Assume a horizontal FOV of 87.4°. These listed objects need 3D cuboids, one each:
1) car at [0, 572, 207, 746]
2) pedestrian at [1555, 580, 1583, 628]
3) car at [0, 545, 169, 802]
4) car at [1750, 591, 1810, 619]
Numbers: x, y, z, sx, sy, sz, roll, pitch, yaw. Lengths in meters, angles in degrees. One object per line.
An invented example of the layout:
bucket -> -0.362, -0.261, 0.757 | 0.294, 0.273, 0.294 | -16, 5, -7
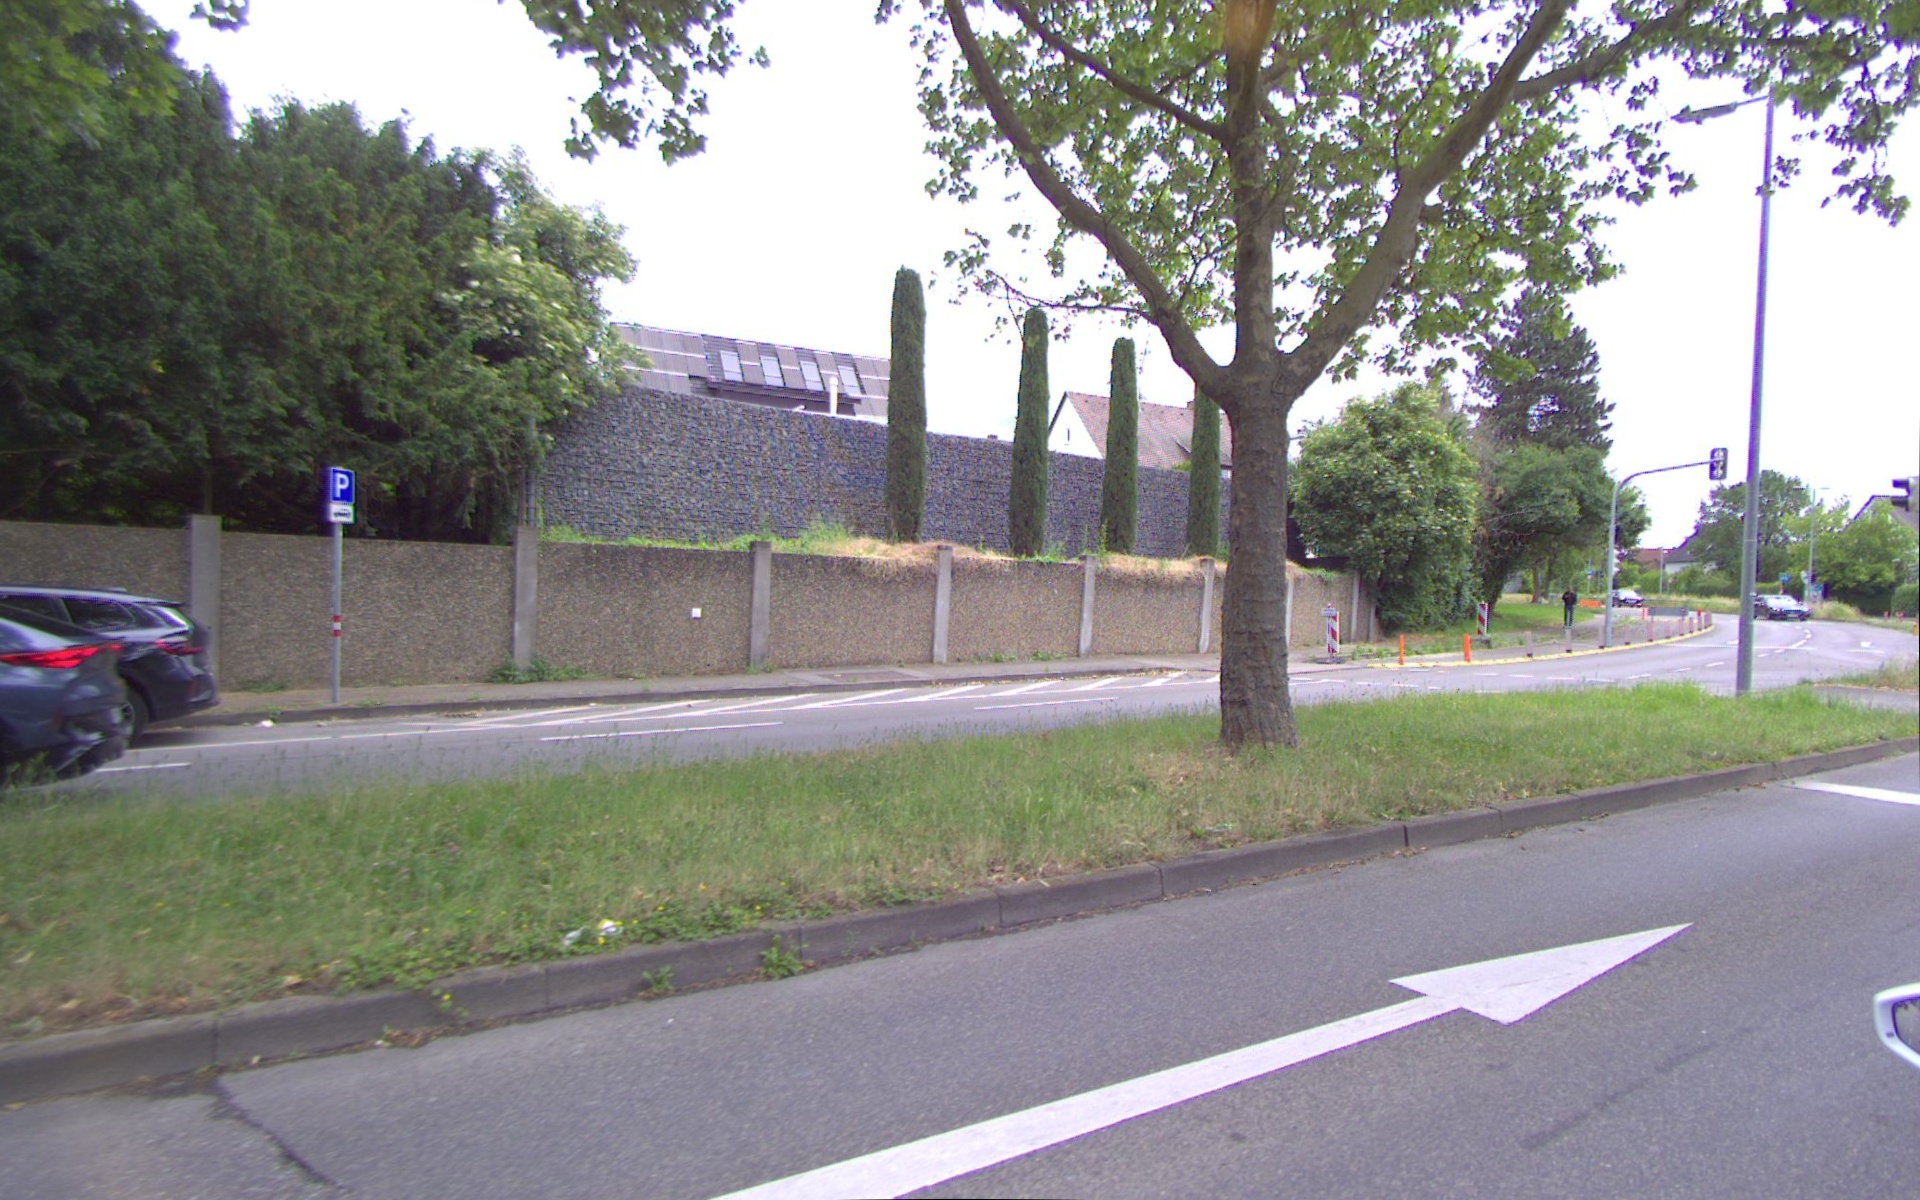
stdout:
car -> -10.087, 0.557, 9.747 | 4.422, 1.637, 1.778 | 1, -1, -38
pedestrian -> 26.857, 0.167, 44.279 | 0.937, 2.041, 0.852 | 3, 2, 35
car -> -7.849, 0.458, 6.227 | 4.544, 1.637, 1.779 | 1, -1, -37
car -> 49.057, 0.274, 60.174 | 1.811, 1.653, 4.256 | 1, 1, 25
